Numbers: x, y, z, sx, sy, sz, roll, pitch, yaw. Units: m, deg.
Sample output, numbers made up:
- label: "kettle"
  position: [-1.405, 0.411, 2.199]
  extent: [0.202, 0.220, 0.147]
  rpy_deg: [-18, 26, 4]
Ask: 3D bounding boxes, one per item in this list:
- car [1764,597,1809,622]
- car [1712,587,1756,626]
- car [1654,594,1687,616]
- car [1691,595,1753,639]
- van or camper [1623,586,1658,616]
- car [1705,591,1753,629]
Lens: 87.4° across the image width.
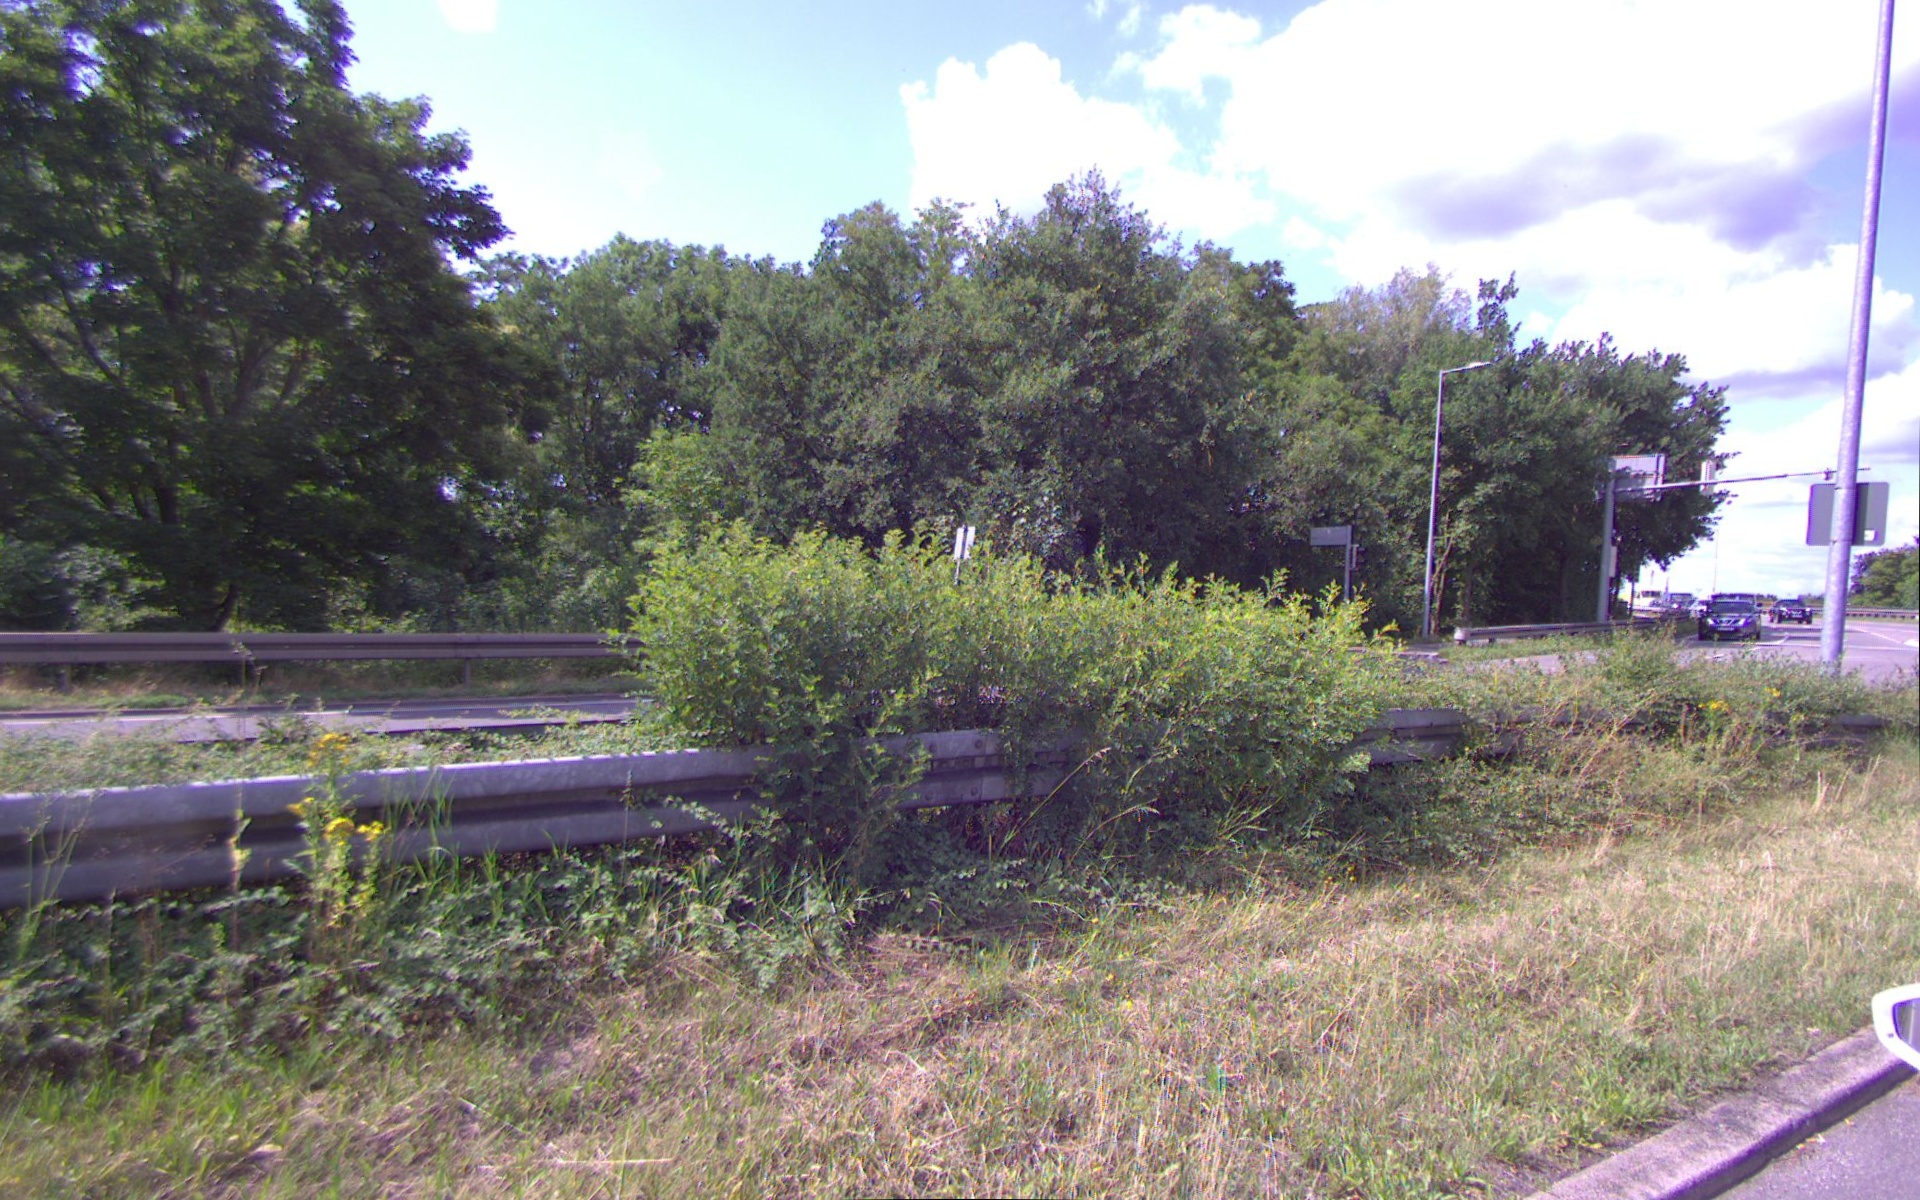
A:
- label: "car"
  position: [53.508, 0.581, 65.092]
  extent: [1.707, 1.516, 4.037]
  rpy_deg: [2, 1, 32]
- label: "car"
  position: [44.852, 0.350, 58.259]
  extent: [1.819, 2.128, 4.311]
  rpy_deg: [2, 1, 36]
- label: "car"
  position: [58.020, 0.421, 82.076]
  extent: [1.817, 1.728, 4.316]
  rpy_deg: [2, 1, 32]
- label: "car"
  position: [30.689, 0.695, 40.409]
  extent: [1.816, 1.639, 3.982]
  rpy_deg: [2, 0, 39]
- label: "van or camper"
  position: [64.681, 0.084, 95.523]
  extent: [1.963, 2.719, 6.852]
  rpy_deg: [2, 1, 28]
- label: "car"
  position: [39.946, 0.498, 52.124]
  extent: [1.820, 1.826, 4.307]
  rpy_deg: [2, 1, 39]
